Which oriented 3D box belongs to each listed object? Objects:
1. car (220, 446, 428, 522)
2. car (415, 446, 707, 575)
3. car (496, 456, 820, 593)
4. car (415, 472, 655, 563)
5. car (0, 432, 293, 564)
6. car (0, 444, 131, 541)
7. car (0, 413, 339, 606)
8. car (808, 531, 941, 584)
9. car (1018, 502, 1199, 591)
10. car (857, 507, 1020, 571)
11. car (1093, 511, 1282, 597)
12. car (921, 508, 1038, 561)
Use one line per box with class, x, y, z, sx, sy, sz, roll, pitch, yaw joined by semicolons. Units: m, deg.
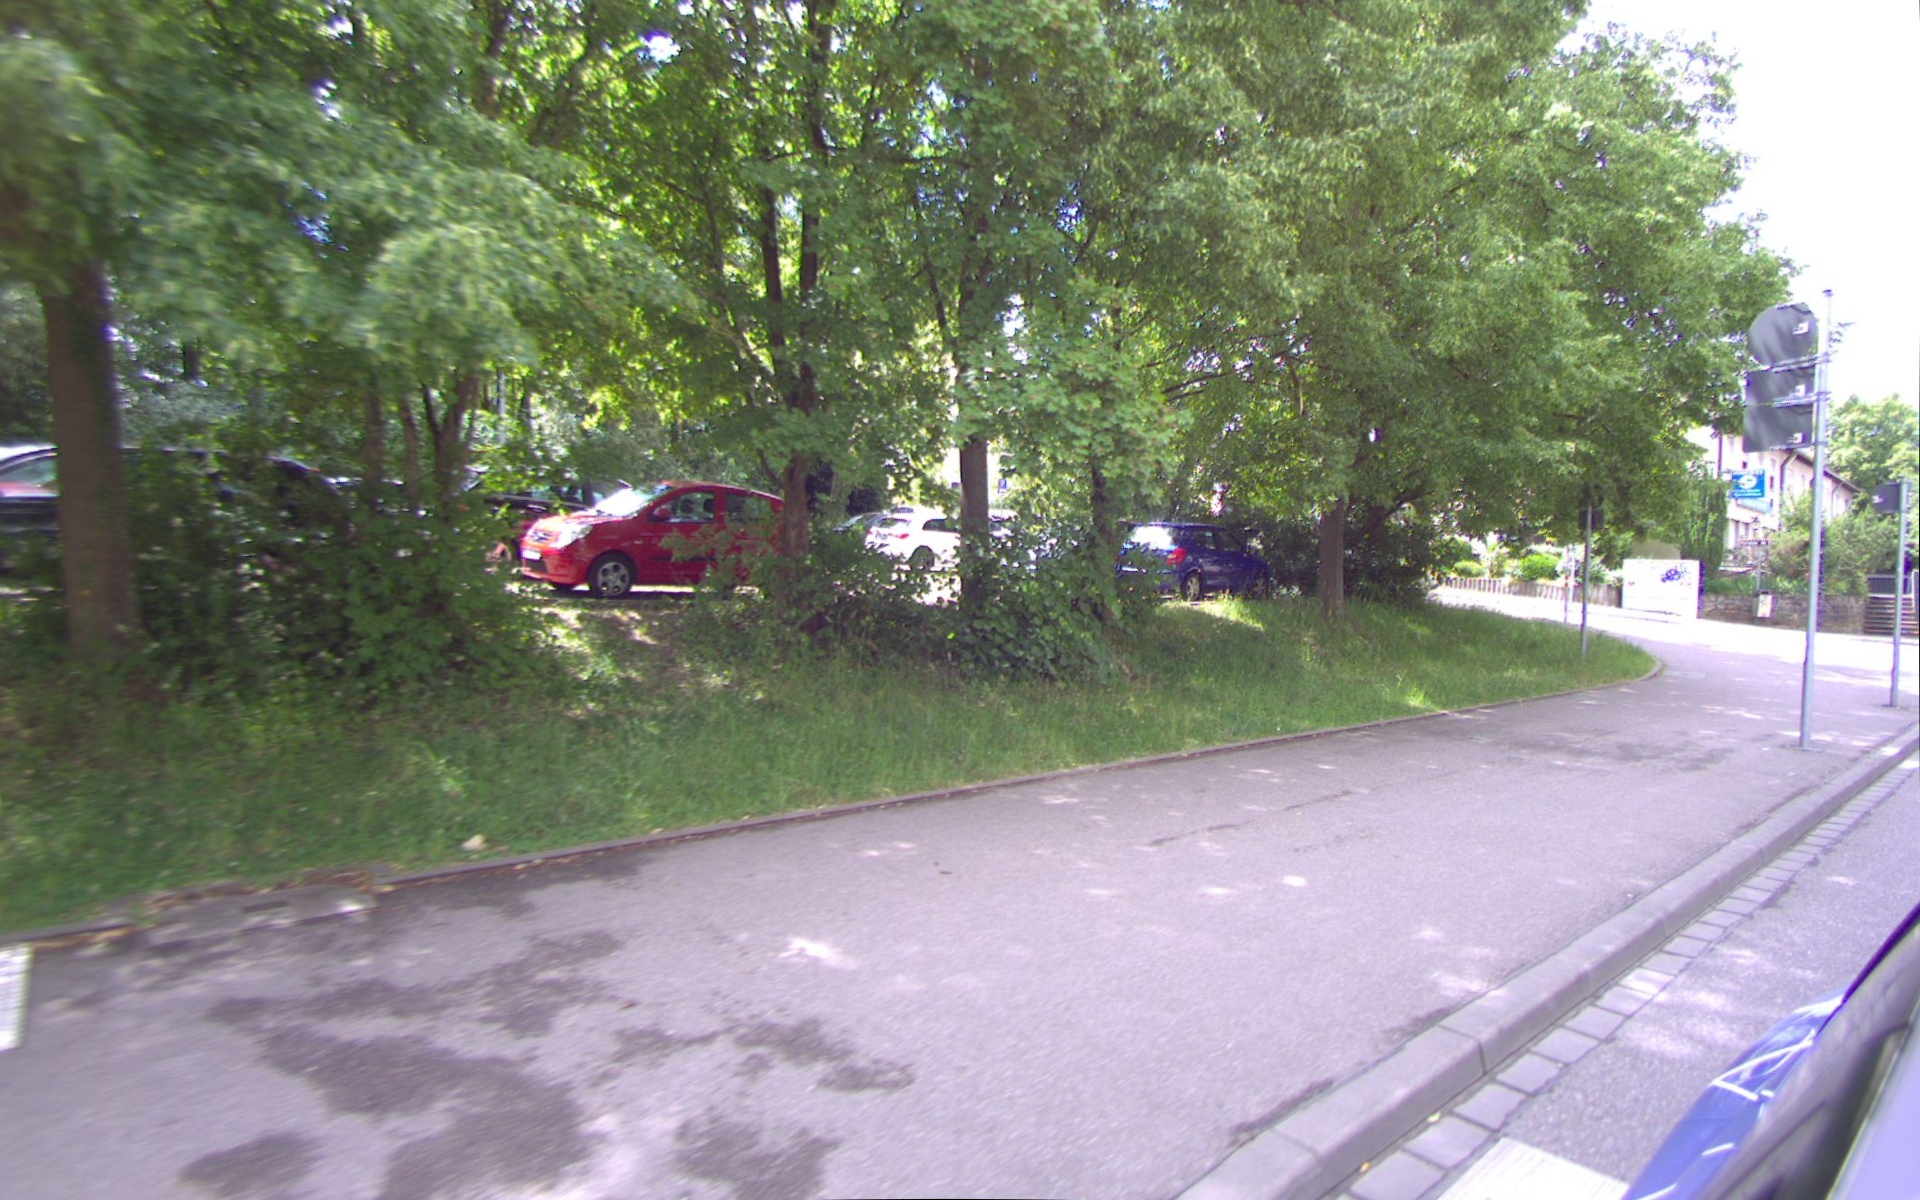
car;-13.638;-2.450;21.791;3.598;1.344;1.635;0;5;-41
car;-5.781;-1.245;14.826;3.598;1.601;1.756;0;5;-41
car;-3.792;-0.907;12.978;3.598;1.518;1.665;0;5;-41
car;-7.957;-1.523;19.131;3.795;1.459;1.757;0;5;-43
car;-11.387;-1.303;13.057;4.464;1.495;1.756;0;5;-41
car;-17.780;-1.976;18.468;4.030;1.644;2.062;0;2;-42
car;-7.945;-0.795;8.856;4.066;1.532;1.631;0;5;-41
car;-2.641;-1.310;31.743;3.914;1.486;1.640;0;5;-42
car;3.196;-1.143;21.383;3.841;1.653;1.682;-2;7;-43
car;-0.486;-1.533;25.048;3.859;1.436;1.620;-3;7;-40
car;4.525;-0.925;19.892;3.751;1.529;1.826;-3;5;-43
car;0.703;-2.219;34.804;3.914;1.604;1.640;0;5;-42
